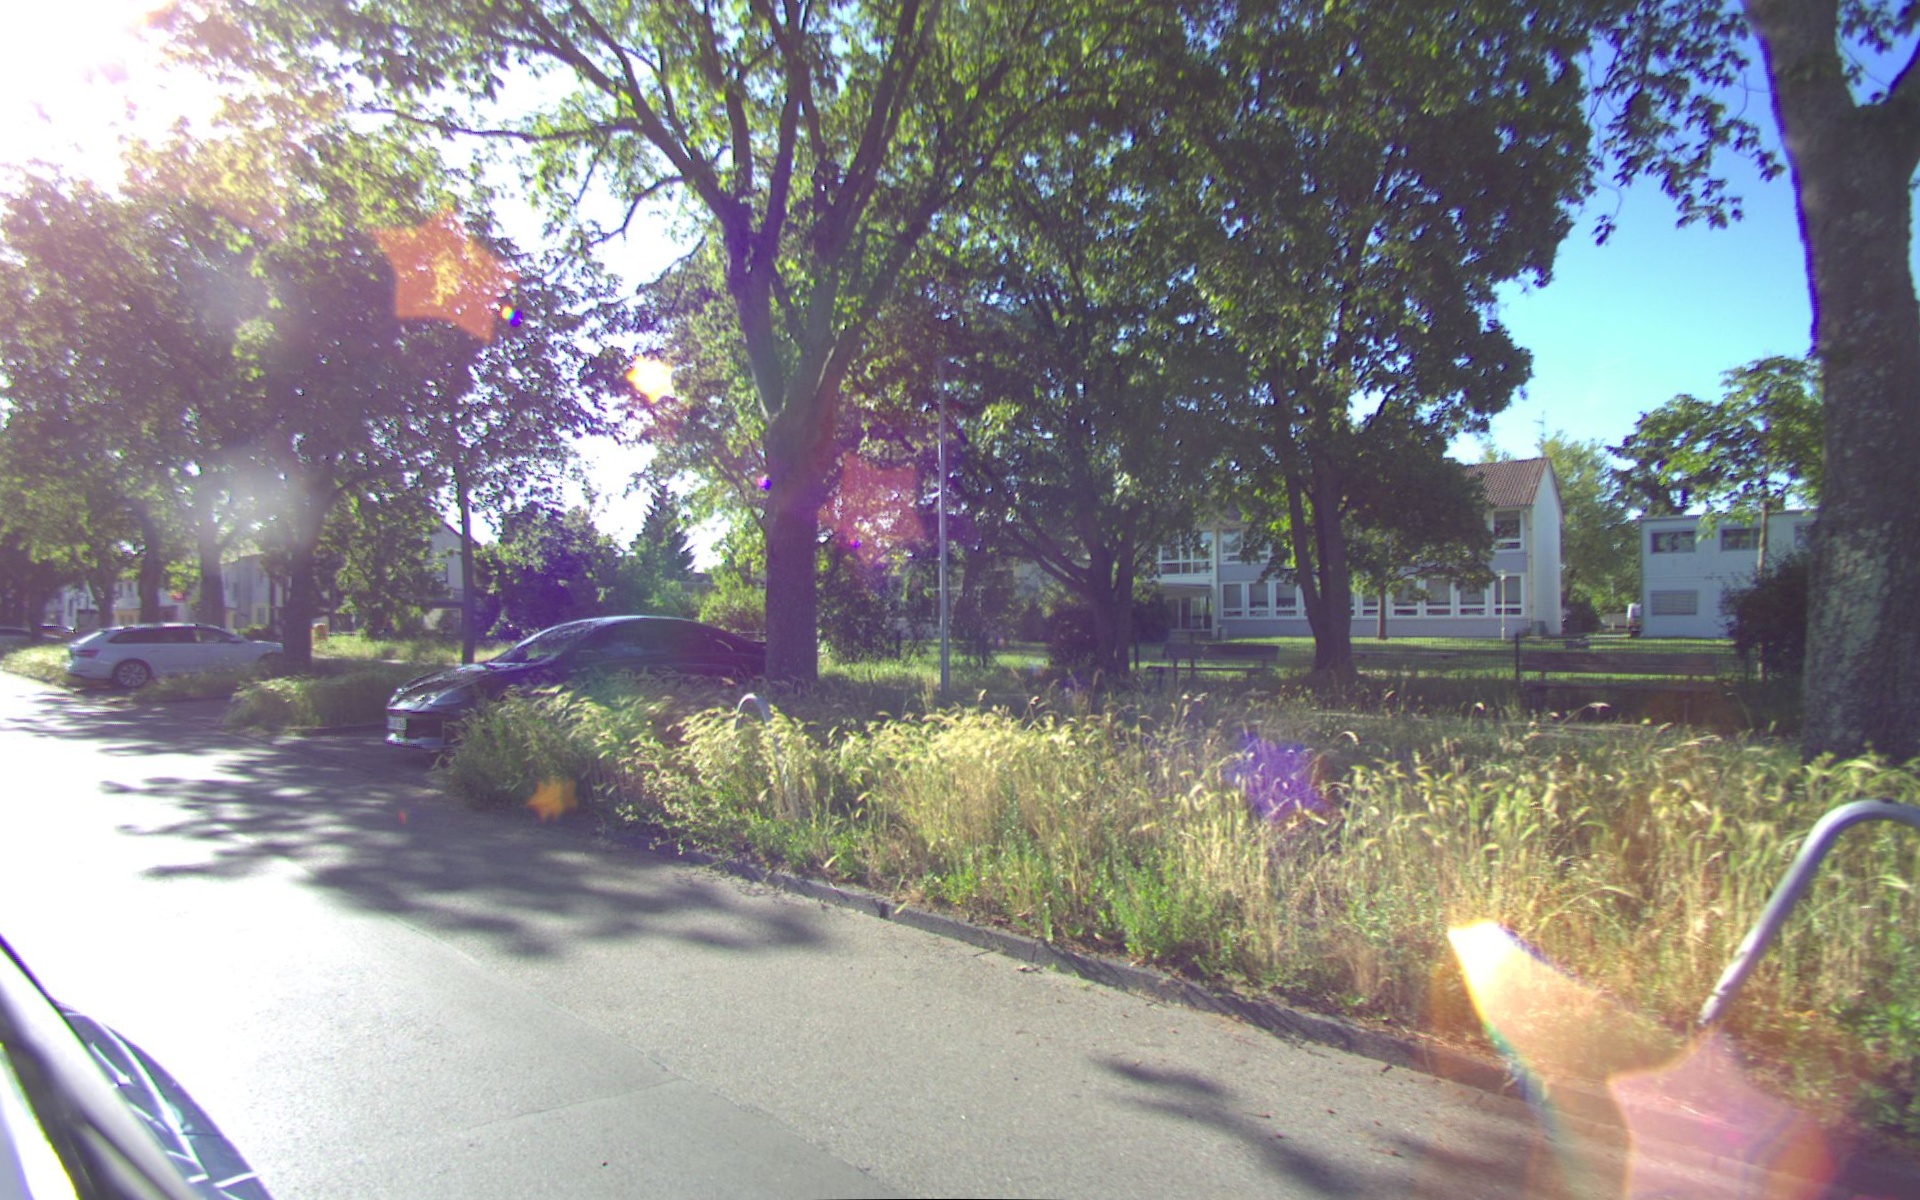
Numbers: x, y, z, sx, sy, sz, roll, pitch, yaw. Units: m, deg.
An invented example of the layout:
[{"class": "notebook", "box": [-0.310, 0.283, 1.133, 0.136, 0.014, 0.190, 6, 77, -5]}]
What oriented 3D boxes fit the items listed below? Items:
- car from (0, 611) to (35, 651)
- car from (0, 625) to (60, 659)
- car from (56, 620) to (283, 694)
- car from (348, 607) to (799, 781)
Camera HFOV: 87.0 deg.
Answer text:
[{"class": "car", "box": [-64.421, 2.075, 66.628, 2.126, 2.631, 5.052, -1, 0, 44]}, {"class": "car", "box": [-53.101, 2.363, 56.611, 1.889, 1.763, 3.946, -1, 0, 41]}, {"class": "car", "box": [-19.433, 1.325, 25.008, 2.000, 1.573, 4.149, -1, 0, 42]}, {"class": "car", "box": [-4.320, 0.909, 11.901, 2.000, 1.573, 4.555, -1, 0, 42]}]
